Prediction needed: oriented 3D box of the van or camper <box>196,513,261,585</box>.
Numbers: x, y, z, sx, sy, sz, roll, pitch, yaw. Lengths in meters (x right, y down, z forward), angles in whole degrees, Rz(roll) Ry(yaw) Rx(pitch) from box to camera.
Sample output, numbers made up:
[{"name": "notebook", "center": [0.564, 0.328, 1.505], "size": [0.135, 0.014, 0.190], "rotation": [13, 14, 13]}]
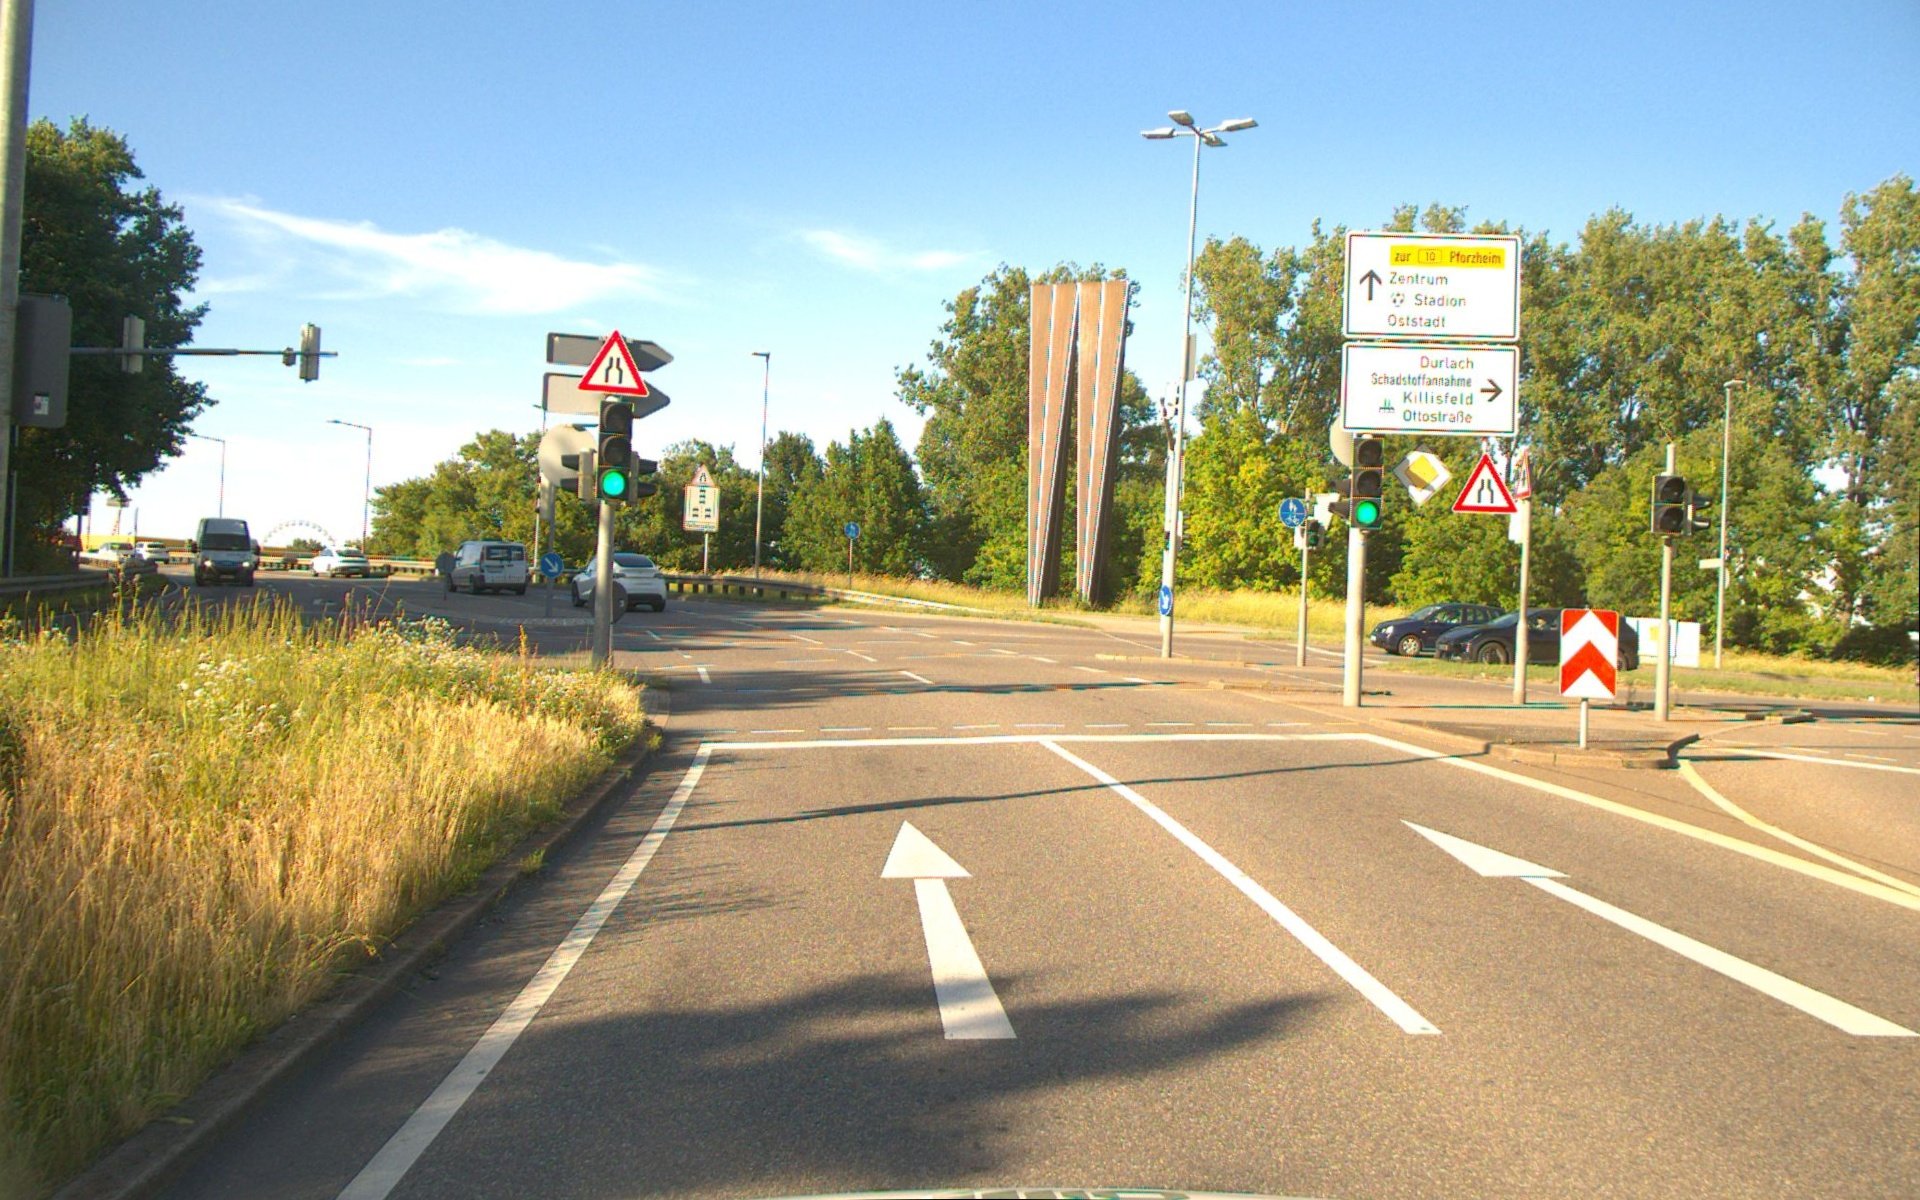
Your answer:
[{"name": "van or camper", "center": [-29.255, -2.047, 66.044], "size": [2.025, 2.719, 6.875], "rotation": [1, 2, -26]}]

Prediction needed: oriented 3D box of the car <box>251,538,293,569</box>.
[{"name": "car", "center": [-41.022, -2.788, 98.533], "size": [1.946, 1.728, 3.965], "rotation": [2, 1, -28]}]

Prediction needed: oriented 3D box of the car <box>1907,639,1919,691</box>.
[{"name": "car", "center": [28.377, 1.885, 45.543], "size": [3.615, 1.411, 1.611], "rotation": [3, 0, 2]}]

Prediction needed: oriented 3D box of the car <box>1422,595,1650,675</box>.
[{"name": "car", "center": [12.909, 0.768, 37.226], "size": [4.370, 1.489, 1.999], "rotation": [3, 1, -4]}]

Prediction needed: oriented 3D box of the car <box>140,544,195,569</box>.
[{"name": "car", "center": [-53.223, -2.918, 111.009], "size": [2.255, 1.534, 3.938], "rotation": [3, 0, -43]}]

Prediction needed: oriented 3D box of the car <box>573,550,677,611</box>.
[{"name": "car", "center": [-9.906, -0.599, 48.687], "size": [1.970, 1.668, 4.092], "rotation": [2, 1, -27]}]

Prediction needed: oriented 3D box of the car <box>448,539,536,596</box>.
[{"name": "car", "center": [-17.037, -1.198, 60.126], "size": [1.974, 1.912, 4.203], "rotation": [2, 1, -32]}]

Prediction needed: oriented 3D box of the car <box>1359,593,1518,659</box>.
[{"name": "car", "center": [12.825, 0.684, 44.473], "size": [3.671, 1.427, 1.694], "rotation": [4, 2, -3]}]

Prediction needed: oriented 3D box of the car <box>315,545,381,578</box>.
[{"name": "car", "center": [-30.342, -1.920, 81.953], "size": [1.954, 1.500, 4.101], "rotation": [2, 1, -37]}]
